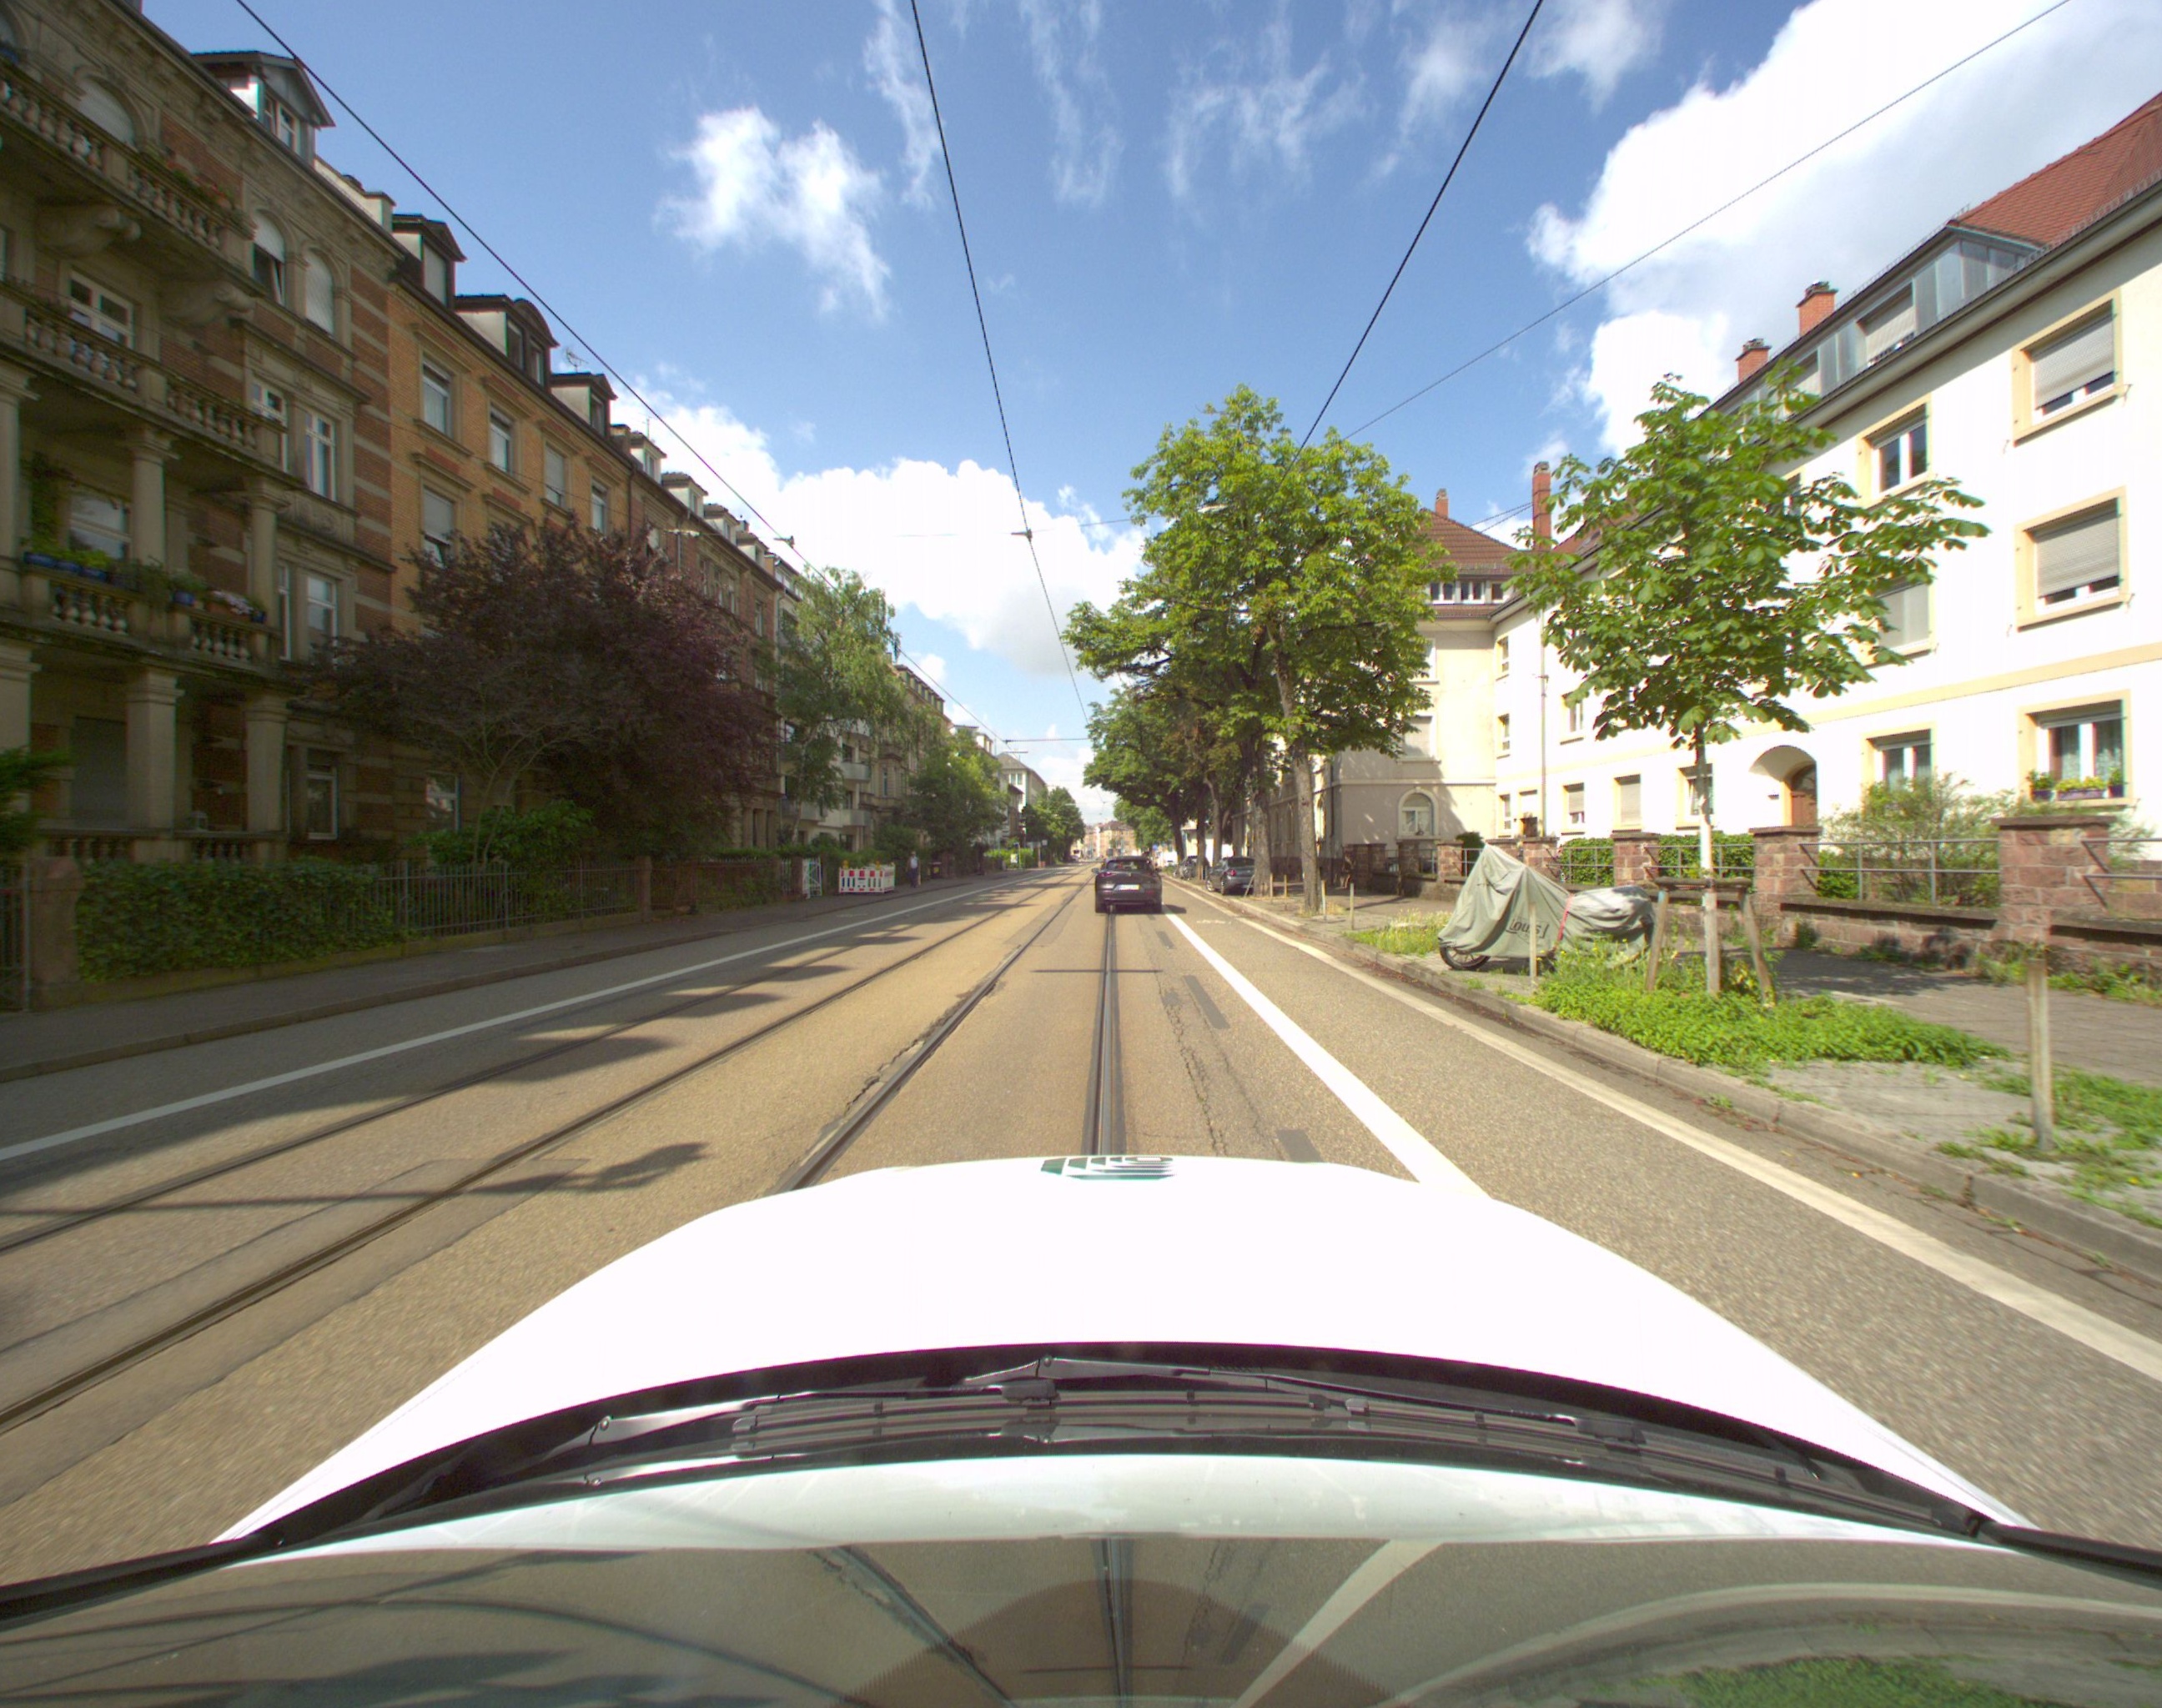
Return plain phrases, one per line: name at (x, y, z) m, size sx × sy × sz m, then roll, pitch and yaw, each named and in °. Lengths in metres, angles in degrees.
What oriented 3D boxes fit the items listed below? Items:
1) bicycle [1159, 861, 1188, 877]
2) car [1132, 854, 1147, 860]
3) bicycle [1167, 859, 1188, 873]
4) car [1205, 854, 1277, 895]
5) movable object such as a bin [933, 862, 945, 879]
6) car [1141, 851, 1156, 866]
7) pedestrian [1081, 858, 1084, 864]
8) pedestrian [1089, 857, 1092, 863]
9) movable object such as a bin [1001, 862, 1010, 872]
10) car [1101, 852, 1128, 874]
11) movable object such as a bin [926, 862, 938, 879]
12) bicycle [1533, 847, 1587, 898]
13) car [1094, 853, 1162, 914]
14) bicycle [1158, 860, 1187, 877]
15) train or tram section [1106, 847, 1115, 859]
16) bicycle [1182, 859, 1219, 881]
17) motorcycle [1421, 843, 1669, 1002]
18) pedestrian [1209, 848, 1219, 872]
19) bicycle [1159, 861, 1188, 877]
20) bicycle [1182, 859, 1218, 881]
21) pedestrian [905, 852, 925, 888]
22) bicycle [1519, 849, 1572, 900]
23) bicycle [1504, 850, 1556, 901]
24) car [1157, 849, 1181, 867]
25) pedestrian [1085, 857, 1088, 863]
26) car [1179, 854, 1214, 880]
bicycle at (6.186, 0.992, 54.725) m, size 1.896 × 1.072 × 0.402 m, roll -1°, pitch -1°, yaw 2°
car at (16.736, 0.840, 232.932) m, size 3.814 × 1.618 × 1.629 m, roll 2°, pitch 0°, yaw -16°
bicycle at (6.962, 0.875, 59.055) m, size 1.484 × 0.983 × 0.259 m, roll -1°, pitch -1°, yaw 4°
car at (6.160, 0.774, 31.843) m, size 1.841 × 1.409 × 4.393 m, roll -3°, pitch 0°, yaw -1°
movable object such as a bin at (-9.349, 1.112, 53.598) m, size 0.535 × 1.094 × 0.791 m, roll -1°, pitch 0°, yaw 7°
car at (8.914, 0.572, 107.901) m, size 1.713 × 1.968 × 4.210 m, roll -1°, pitch 0°, yaw 3°
pedestrian at (0.426, 1.946, 222.056) m, size 0.749 × 1.510 × 0.823 m, roll -1°, pitch 0°, yaw -2°
pedestrian at (2.750, 1.798, 246.298) m, size 0.882 × 2.013 × 0.617 m, roll -1°, pitch 0°, yaw -2°
movable object such as a bin at (-7.400, 1.250, 80.161) m, size 0.742 × 0.988 × 1.115 m, roll 1°, pitch 0°, yaw 2°
car at (2.548, 0.677, 62.428) m, size 1.986 × 1.529 × 4.002 m, roll 1°, pitch 0°, yaw 2°
movable object such as a bin at (-9.848, 1.108, 53.807) m, size 0.546 × 1.108 × 0.791 m, roll -1°, pitch 0°, yaw 7°
bicycle at (11.978, 0.447, 20.404) m, size 0.410 × 1.211 × 1.705 m, roll -1°, pitch 0°, yaw 3°
car at (1.270, 0.762, 22.690) m, size 1.714 × 1.526 × 3.591 m, roll -1°, pitch 0°, yaw 2°
bicycle at (6.201, 0.977, 55.131) m, size 1.896 × 1.072 × 0.402 m, roll -1°, pitch -1°, yaw 2°
train or tram section at (9.150, -0.256, 253.077) m, size 2.561 × 3.772 × 13.034 m, roll -1°, pitch 0°, yaw 3°
bicycle at (6.589, 0.887, 44.859) m, size 1.923 × 1.176 × 0.515 m, roll -2°, pitch -1°, yaw 13°
motorcycle at (5.236, 0.683, 9.323) m, size 2.357 × 1.597 × 0.683 m, roll 1°, pitch 1°, yaw 40°
pedestrian at (10.153, 0.452, 62.090) m, size 0.608 × 1.836 × 0.878 m, roll -1°, pitch -2°, yaw 0°
bicycle at (6.133, 0.984, 54.224) m, size 1.896 × 1.072 × 0.402 m, roll -1°, pitch -1°, yaw 2°
bicycle at (6.641, 0.899, 45.421) m, size 1.880 × 1.176 × 0.515 m, roll -2°, pitch -1°, yaw 13°
pedestrian at (-8.140, 0.771, 39.976) m, size 0.820 × 1.706 × 0.891 m, roll -1°, pitch 0°, yaw -1°
bicycle at (11.589, 0.482, 20.370) m, size 0.410 × 1.211 × 1.705 m, roll -1°, pitch 0°, yaw 3°
bicycle at (11.173, 0.511, 20.326) m, size 0.410 × 1.211 × 1.705 m, roll -1°, pitch 0°, yaw 3°
car at (9.797, 0.406, 91.075) m, size 1.783 × 1.938 × 4.984 m, roll -1°, pitch 0°, yaw -4°
pedestrian at (1.558, 1.812, 246.361) m, size 0.882 × 2.013 × 0.617 m, roll -1°, pitch 0°, yaw -2°
car at (6.991, 0.781, 49.631) m, size 1.659 × 1.430 × 3.768 m, roll -3°, pitch 0°, yaw 2°
